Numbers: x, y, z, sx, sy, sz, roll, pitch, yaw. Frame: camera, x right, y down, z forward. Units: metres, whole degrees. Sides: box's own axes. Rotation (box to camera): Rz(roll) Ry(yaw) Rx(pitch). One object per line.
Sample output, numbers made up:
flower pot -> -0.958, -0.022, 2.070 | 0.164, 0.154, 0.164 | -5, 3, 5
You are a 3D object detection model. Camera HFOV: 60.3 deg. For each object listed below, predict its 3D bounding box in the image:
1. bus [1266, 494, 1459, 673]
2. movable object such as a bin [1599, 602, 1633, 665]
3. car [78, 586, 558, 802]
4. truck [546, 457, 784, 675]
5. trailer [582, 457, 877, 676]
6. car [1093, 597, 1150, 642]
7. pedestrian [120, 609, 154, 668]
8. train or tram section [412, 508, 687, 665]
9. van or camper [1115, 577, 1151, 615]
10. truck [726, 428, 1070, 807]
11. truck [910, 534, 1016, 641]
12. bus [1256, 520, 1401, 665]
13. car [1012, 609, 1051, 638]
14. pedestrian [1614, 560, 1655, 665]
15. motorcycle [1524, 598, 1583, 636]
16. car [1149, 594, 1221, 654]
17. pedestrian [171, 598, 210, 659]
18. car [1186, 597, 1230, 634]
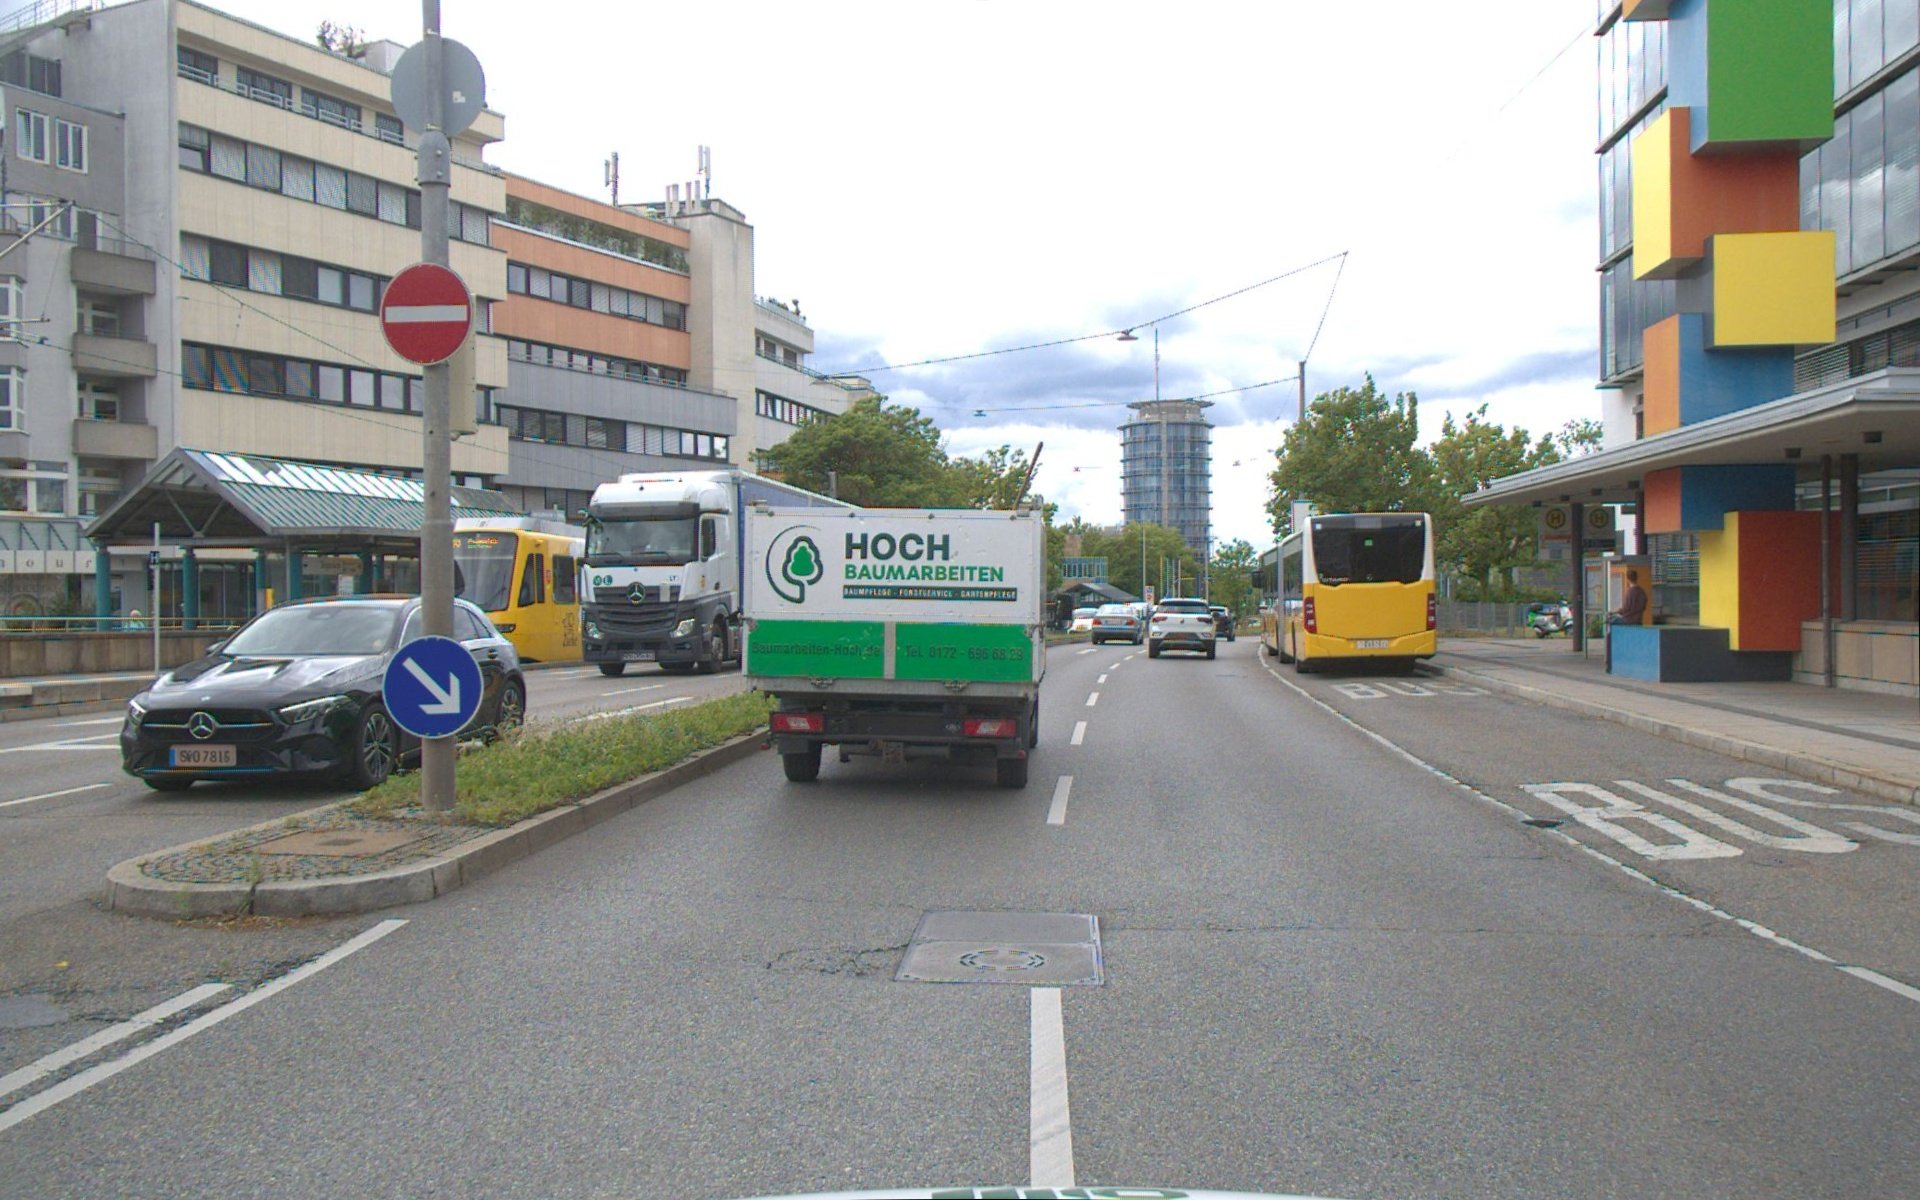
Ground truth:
bus -> 8.376, -0.275, 35.590 | 2.971, 3.292, 9.345 | -1, -1, 7
movable object such as a bin -> 11.027, 0.562, 27.805 | 0.411, 1.047, 0.533 | 0, 0, 6
car -> -5.015, 0.640, 13.797 | 1.952, 1.484, 4.775 | 0, 0, 3
truck -> -5.908, -0.650, 34.306 | 3.025, 4.092, 6.161 | 0, 0, 8
trailer -> -4.993, -0.718, 40.380 | 3.036, 4.344, 14.859 | 0, 0, 8
car -> 5.751, 0.658, 58.509 | 1.828, 1.531, 4.777 | 0, 0, 8
pedestrian -> -22.632, 1.048, 45.474 | 0.636, 1.611, 0.601 | 0, 0, -4
train or tram section -> -10.578, -0.335, 44.556 | 2.698, 3.648, 12.013 | 0, 0, 9
van or camper -> 12.842, -0.265, 122.473 | 1.951, 2.644, 6.121 | -2, -1, 12
truck -> -0.283, 0.105, 14.988 | 2.419, 2.657, 6.550 | 1, 0, 3
truck -> 0.264, -0.482, 66.883 | 2.875, 4.027, 9.172 | 0, 0, 9
bus -> 9.592, -0.138, 44.098 | 2.919, 3.297, 9.873 | 3, 0, 8
car -> 3.677, 1.190, 84.285 | 1.473, 1.369, 3.952 | -2, -1, 10
pedestrian -> 11.409, 0.210, 27.997 | 0.497, 1.766, 0.573 | 0, 0, 6
motorcycle -> 18.159, 0.505, 50.647 | 0.810, 1.134, 1.732 | -1, 0, -19
car -> 6.102, 0.619, 44.810 | 1.828, 1.531, 4.777 | 0, 0, 8
pedestrian -> -22.544, 0.837, 48.473 | 0.792, 1.766, 0.652 | 0, 0, 11
car -> 10.943, 0.658, 73.161 | 1.828, 1.531, 4.777 | 0, 0, 8
